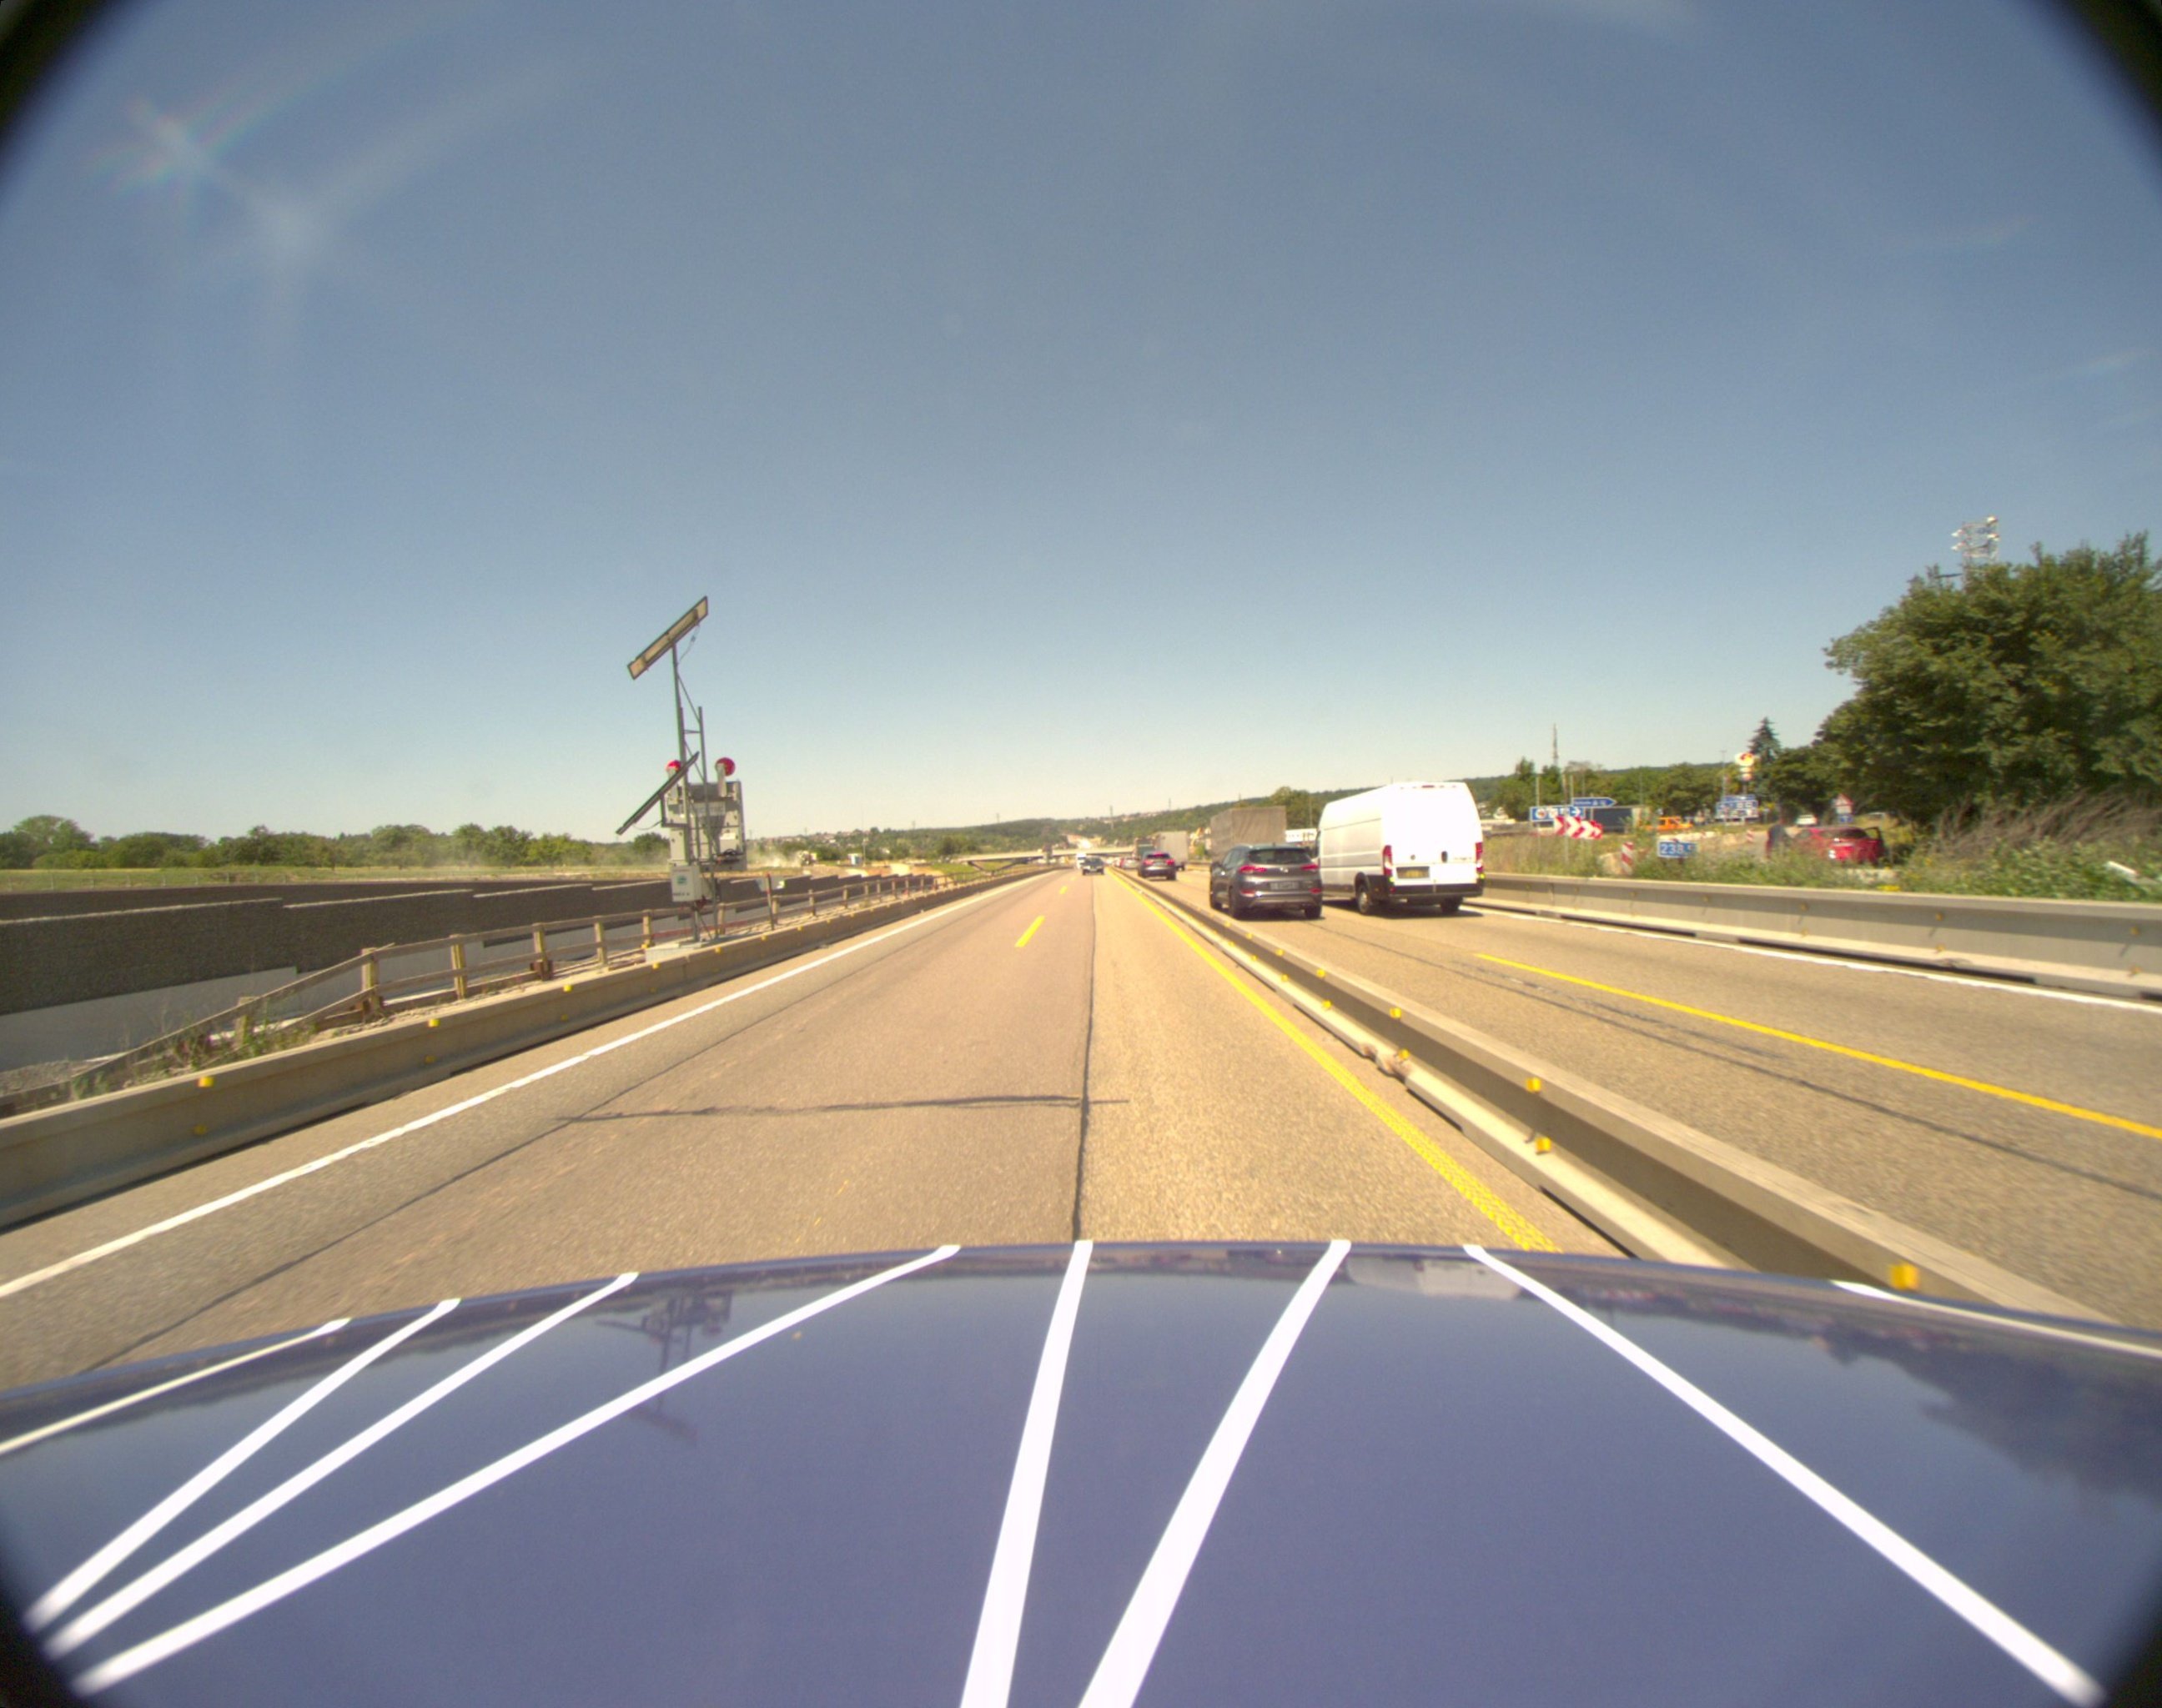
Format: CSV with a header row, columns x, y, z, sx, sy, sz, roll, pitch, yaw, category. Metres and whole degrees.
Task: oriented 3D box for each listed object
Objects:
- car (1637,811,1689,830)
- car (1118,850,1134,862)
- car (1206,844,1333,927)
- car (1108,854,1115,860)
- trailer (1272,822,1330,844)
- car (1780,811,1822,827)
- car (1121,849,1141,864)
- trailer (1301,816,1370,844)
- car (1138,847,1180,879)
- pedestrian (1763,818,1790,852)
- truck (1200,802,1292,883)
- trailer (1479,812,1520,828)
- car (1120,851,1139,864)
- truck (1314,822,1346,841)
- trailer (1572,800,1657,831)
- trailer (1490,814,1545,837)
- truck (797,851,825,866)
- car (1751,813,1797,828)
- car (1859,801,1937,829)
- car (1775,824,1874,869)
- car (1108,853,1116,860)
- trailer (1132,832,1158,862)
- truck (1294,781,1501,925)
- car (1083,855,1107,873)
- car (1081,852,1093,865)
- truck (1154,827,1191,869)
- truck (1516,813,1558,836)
x,y,z,sx,sy,sz,roll,pitch,yaw,category
77.281,-4.425,100.908,2.003,2.240,5.014,-4,0,-33,car
5.993,0.278,101.693,1.901,1.484,4.761,-2,-1,1,car
4.129,0.634,17.338,1.943,1.601,4.000,-2,0,2,car
8.056,0.819,199.068,1.651,1.359,3.945,-1,0,1,car
49.480,-4.611,171.405,2.625,3.762,12.721,-6,0,-45,trailer
95.775,-4.606,101.119,3.989,1.823,1.746,-2,0,44,car
4.920,0.225,74.854,1.686,1.420,4.201,-2,0,0,car
48.927,-4.623,146.394,2.865,4.142,12.348,-6,0,-44,trailer
4.355,0.472,42.916,1.947,1.649,4.745,-1,0,1,car
25.135,-0.697,27.468,0.474,1.197,0.586,-2,1,16,pedestrian
7.517,-0.523,35.735,2.501,3.273,8.116,-2,1,1,truck
98.556,-7.963,179.373,2.951,3.360,11.705,-2,0,-1,trailer
4.894,0.345,77.032,1.714,1.344,3.890,-1,0,1,car
54.571,-4.983,166.403,5.724,3.597,2.585,-5,0,42,truck
77.545,-5.455,110.957,3.029,3.601,13.433,-3,0,1,trailer
63.830,-4.110,111.424,2.260,2.751,9.394,-3,0,-1,trailer
-68.444,1.135,192.940,3.155,3.445,8.758,-3,0,4,truck
96.292,-4.630,105.644,1.745,1.823,4.402,-2,0,-34,car
69.714,-3.289,64.897,3.993,2.002,2.002,-3,0,12,car
26.241,-0.312,26.973,1.500,1.324,4.192,-5,0,31,car
6.943,0.647,170.450,1.651,1.563,3.946,-1,0,3,car
9.440,-0.960,113.646,3.014,4.173,13.852,-2,0,2,trailer
7.205,-0.041,18.344,2.245,2.770,6.492,-2,0,0,truck
1.141,0.766,59.848,1.810,1.299,4.000,-2,0,2,car
1.468,1.037,190.244,2.544,3.126,7.548,-3,0,2,car
7.885,-0.524,66.137,2.395,3.365,7.715,-3,0,2,truck
63.954,-4.107,106.671,2.275,2.751,5.630,-3,0,-1,truck
